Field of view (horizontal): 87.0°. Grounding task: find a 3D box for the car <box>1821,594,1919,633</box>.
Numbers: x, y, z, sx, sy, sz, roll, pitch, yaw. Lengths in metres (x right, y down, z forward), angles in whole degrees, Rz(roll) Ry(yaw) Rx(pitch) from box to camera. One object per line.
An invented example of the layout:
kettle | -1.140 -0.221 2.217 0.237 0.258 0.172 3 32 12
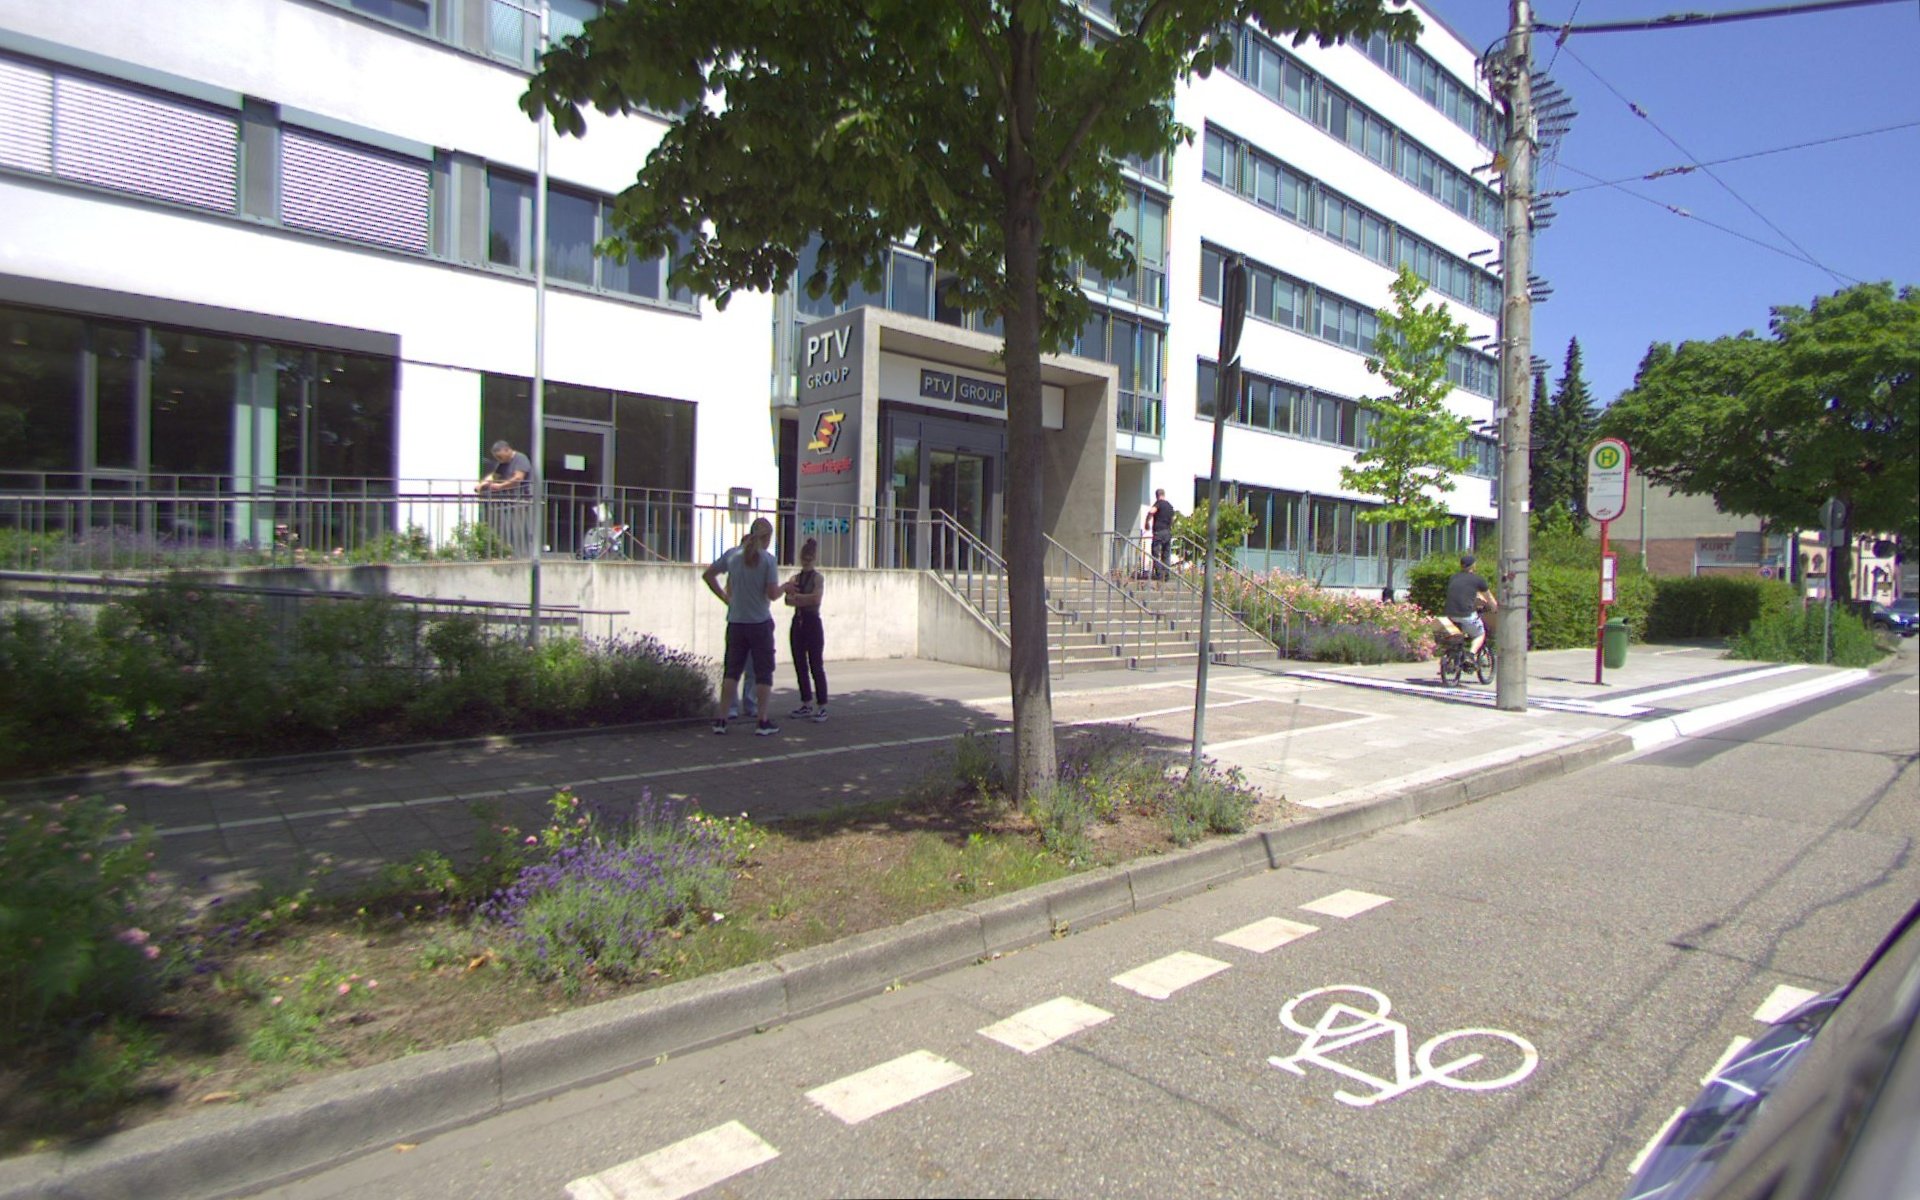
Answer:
car | 36.979 0.511 40.208 1.667 1.388 3.936 0 2 -16

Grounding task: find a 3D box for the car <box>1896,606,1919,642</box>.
car | 49.525 1.242 51.601 4.991 1.713 1.929 0 3 -40

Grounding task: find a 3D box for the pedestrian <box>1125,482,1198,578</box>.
pedestrian | 3.762 -1.304 18.987 1.068 1.735 0.878 1 2 -6

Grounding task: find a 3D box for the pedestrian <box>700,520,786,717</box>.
pedestrian | -2.000 0.150 9.335 0.532 1.735 0.562 3 2 20

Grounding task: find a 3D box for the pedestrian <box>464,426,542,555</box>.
pedestrian | -6.596 -1.544 14.614 0.794 1.738 0.879 1 0 -42

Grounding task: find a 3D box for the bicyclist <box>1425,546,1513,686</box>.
bicyclist | 6.947 0.194 13.822 0.871 1.821 0.698 0 3 -38

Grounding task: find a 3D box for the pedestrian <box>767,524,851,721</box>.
pedestrian | -1.384 0.182 9.301 0.532 1.735 0.562 3 2 20

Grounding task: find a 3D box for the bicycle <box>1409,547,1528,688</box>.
bicycle | 6.959 0.202 13.825 1.777 1.807 0.692 -1 3 -38

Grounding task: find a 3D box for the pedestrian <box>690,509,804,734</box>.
pedestrian | -1.819 0.157 8.677 0.671 1.818 0.671 3 2 18
